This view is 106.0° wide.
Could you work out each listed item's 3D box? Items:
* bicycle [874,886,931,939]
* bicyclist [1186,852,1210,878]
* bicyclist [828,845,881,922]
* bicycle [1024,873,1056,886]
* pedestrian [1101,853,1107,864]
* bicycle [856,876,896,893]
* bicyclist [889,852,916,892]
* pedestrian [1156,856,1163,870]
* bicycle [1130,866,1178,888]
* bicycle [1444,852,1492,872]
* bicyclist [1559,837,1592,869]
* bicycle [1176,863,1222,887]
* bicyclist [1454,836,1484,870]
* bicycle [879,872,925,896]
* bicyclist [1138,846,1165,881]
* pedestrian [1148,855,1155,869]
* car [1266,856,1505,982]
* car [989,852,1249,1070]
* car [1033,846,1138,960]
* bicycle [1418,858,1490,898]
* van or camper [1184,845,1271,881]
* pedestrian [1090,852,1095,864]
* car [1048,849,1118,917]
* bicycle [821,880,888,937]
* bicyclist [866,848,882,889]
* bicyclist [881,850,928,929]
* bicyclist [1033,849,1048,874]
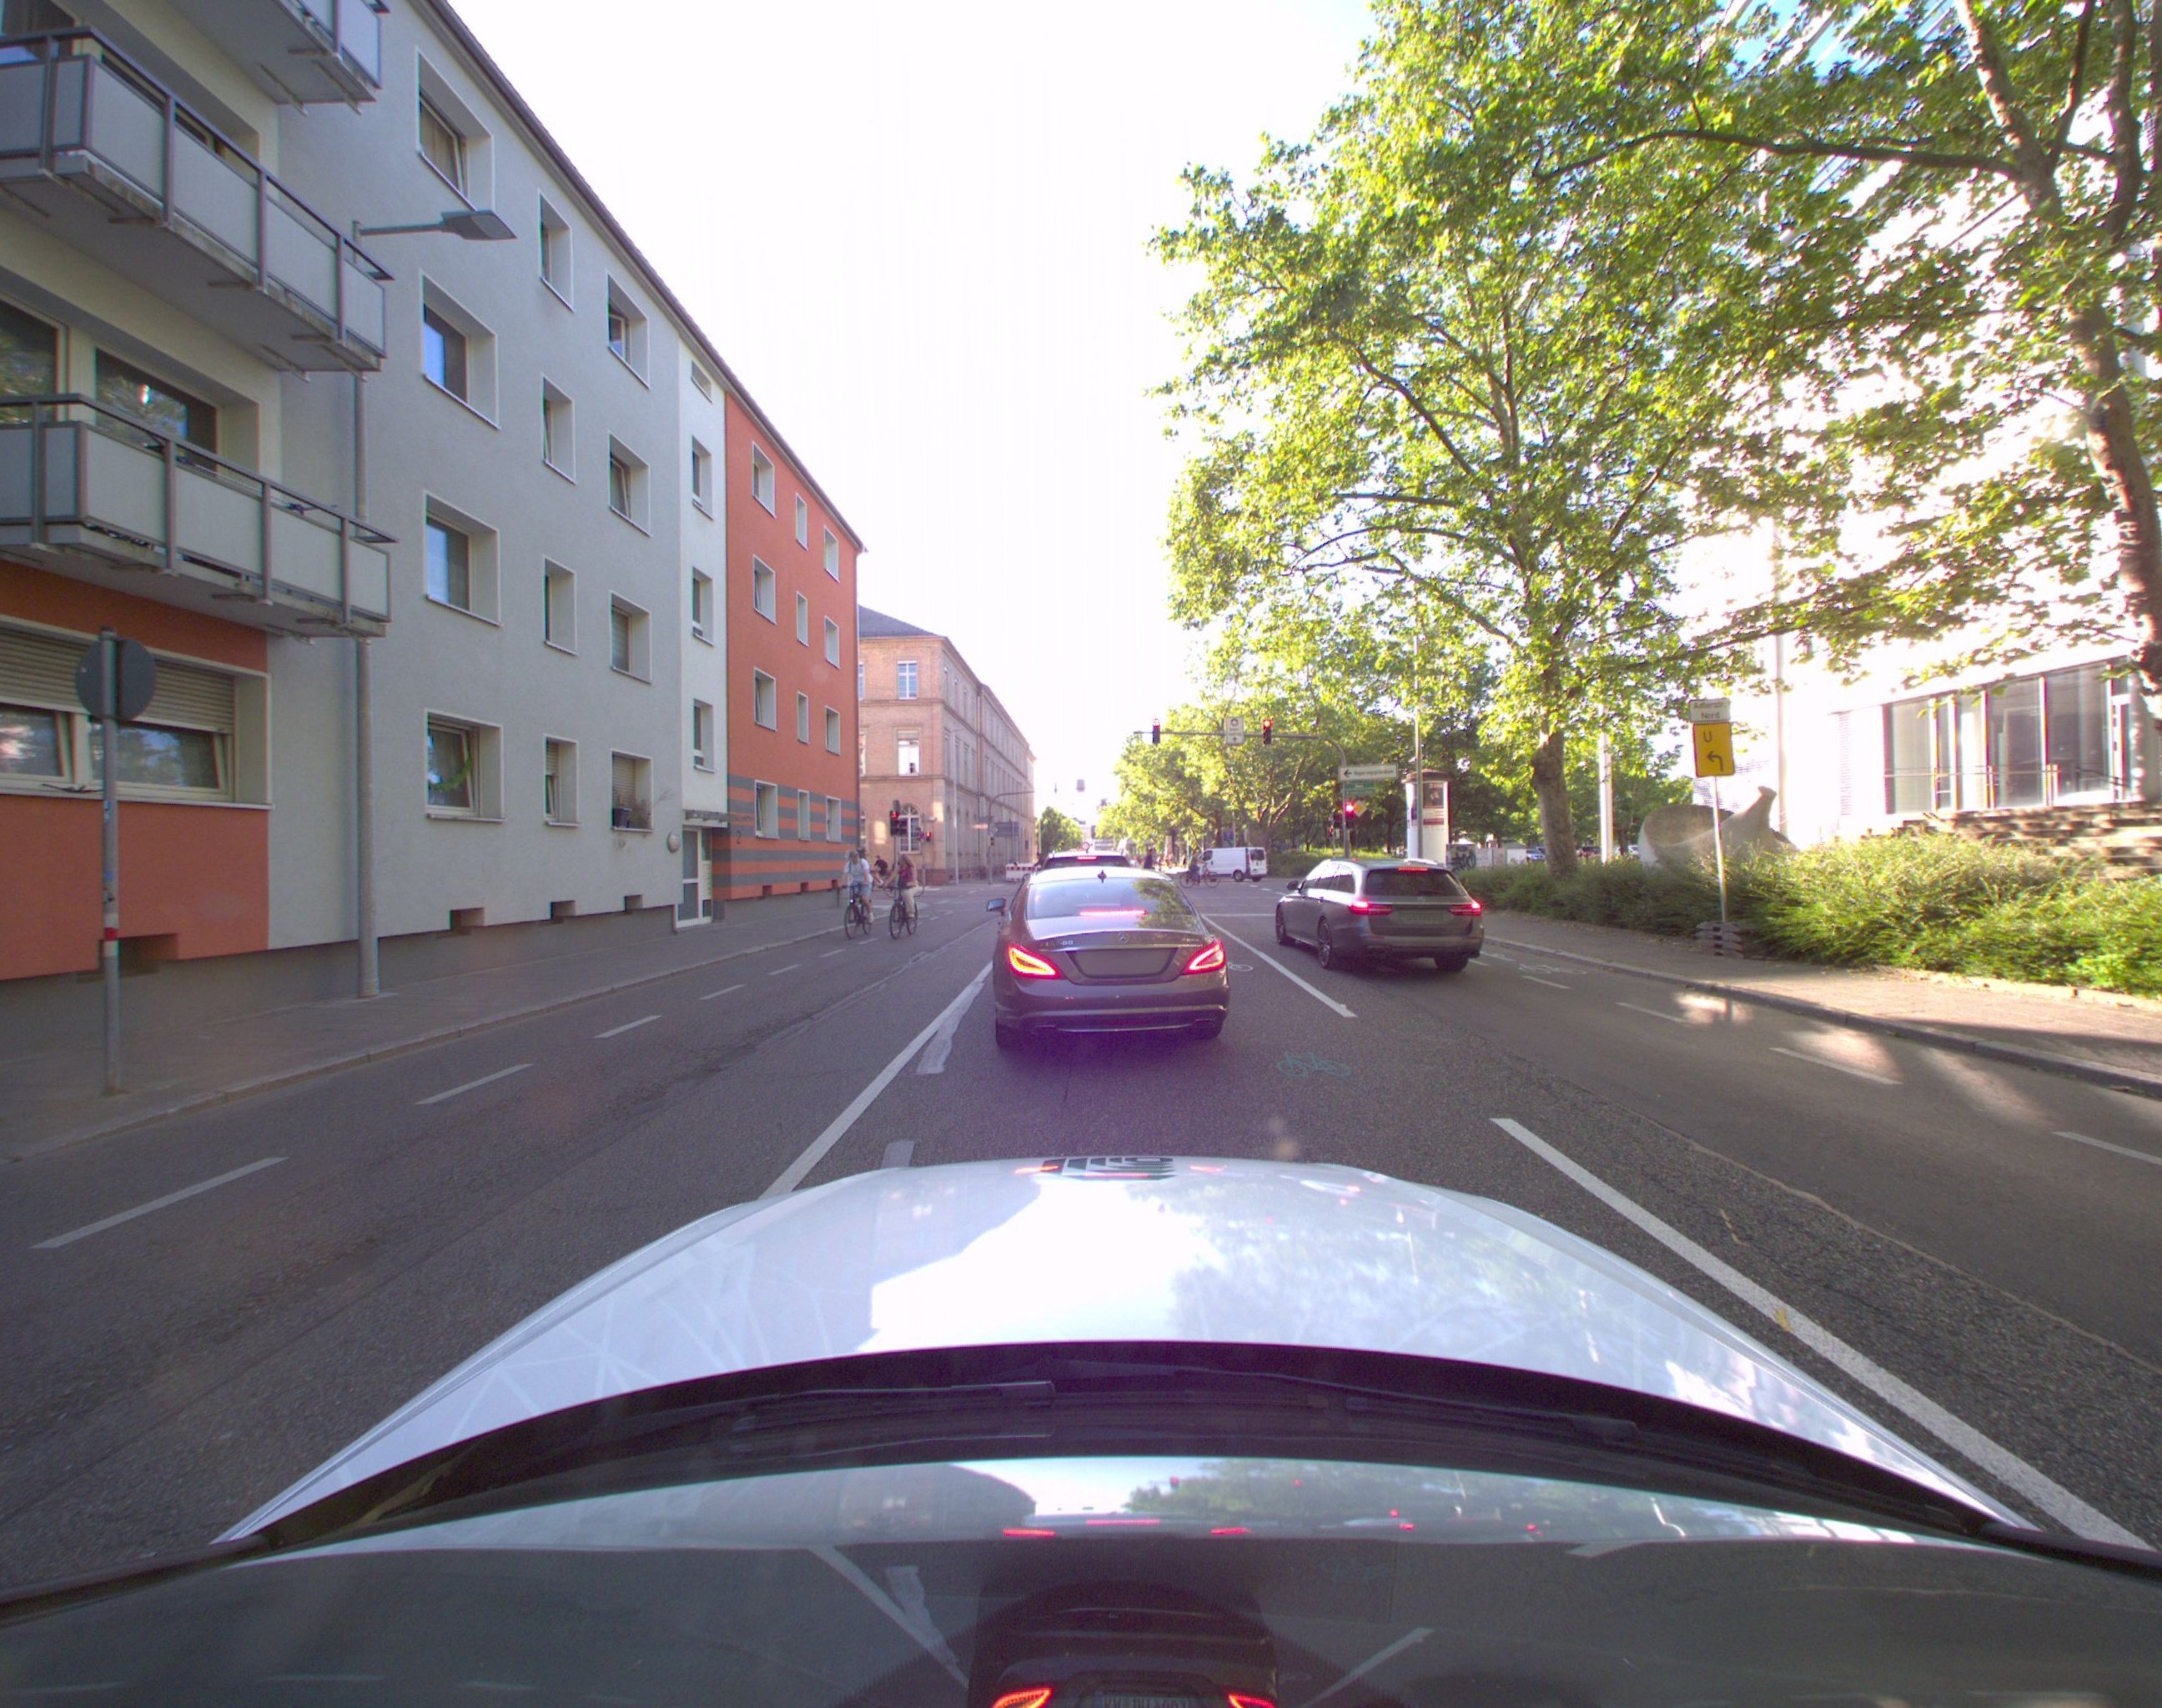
[{"bbox_3d":[-3.623,1.167,16.681,0.691,0.929,1.864,-1,0,1],"label":"bicycle"},{"bbox_3d":[5.230,0.481,36.440,0.987,1.154,0.621,-1,0,3],"label":"bicyclist"},{"bbox_3d":[-4.736,0.607,17.074,0.839,1.555,0.839,-1,0,1],"label":"bicyclist"},{"bbox_3d":[-2.113,1.297,41.960,1.579,0.635,0.496,-1,0,5],"label":"bicycle"},{"bbox_3d":[3.401,0.681,121.519,0.799,1.576,0.845,-1,0,1],"label":"pedestrian"},{"bbox_3d":[-10.393,1.534,41.241,1.889,0.837,0.457,-1,0,-6],"label":"bicycle"},{"bbox_3d":[-7.456,0.728,34.101,1.013,1.642,0.607,-1,0,-4],"label":"bicyclist"},{"bbox_3d":[8.509,0.956,88.319,0.646,1.433,0.659,-1,0,1],"label":"pedestrian"},{"bbox_3d":[3.146,0.986,35.172,1.979,0.903,0.734,-1,0,0],"label":"bicycle"},{"bbox_3d":[17.916,0.380,37.747,1.884,0.882,0.726,-1,0,5],"label":"bicycle"},{"bbox_3d":[22.167,-0.044,36.523,1.097,1.403,0.659,-1,0,6],"label":"bicyclist"},{"bbox_3d":[5.275,0.955,36.427,1.972,1.027,0.652,-1,0,3],"label":"bicycle"},{"bbox_3d":[17.988,-0.047,37.746,1.069,1.519,0.718,-1,0,6],"label":"bicyclist"},{"bbox_3d":[-7.486,1.262,34.089,1.791,0.946,0.613,-1,0,-5],"label":"bicycle"},{"bbox_3d":[3.045,0.392,35.174,1.113,1.490,0.712,-1,0,0],"label":"bicyclist"},{"bbox_3d":[7.700,0.856,88.737,0.646,1.503,0.637,-1,0,1],"label":"pedestrian"},{"bbox_3d":[4.143,0.778,11.997,1.906,1.464,4.671,1,0,2],"label":"car"},{"bbox_3d":[0.085,0.732,7.802,1.801,1.456,4.342,-1,0,-5],"label":"car"},{"bbox_3d":[0.061,0.710,13.809,1.513,1.647,3.879,-1,0,0],"label":"car"},{"bbox_3d":[10.715,0.694,23.438,1.796,1.097,0.510,-1,0,4],"label":"bicycle"},{"bbox_3d":[8.286,0.524,46.355,2.011,1.941,4.538,-1,0,-44],"label":"van or camper"},{"bbox_3d":[1.820,0.662,127.920,0.718,1.902,0.704,-1,0,1],"label":"pedestrian"},{"bbox_3d":[0.127,0.768,23.385,1.813,1.762,4.002,-1,0,2],"label":"car"},{"bbox_3d":[-4.742,1.113,17.162,0.860,1.079,1.837,-1,0,1],"label":"bicycle"},{"bbox_3d":[-10.477,0.732,41.233,0.651,2.013,0.439,-1,0,-6],"label":"bicyclist"},{"bbox_3d":[-3.626,0.712,16.774,0.682,1.578,0.982,-1,0,3],"label":"bicyclist"},{"bbox_3d":[-2.096,0.388,41.968,0.701,1.260,0.458,-1,0,5],"label":"bicyclist"}]
